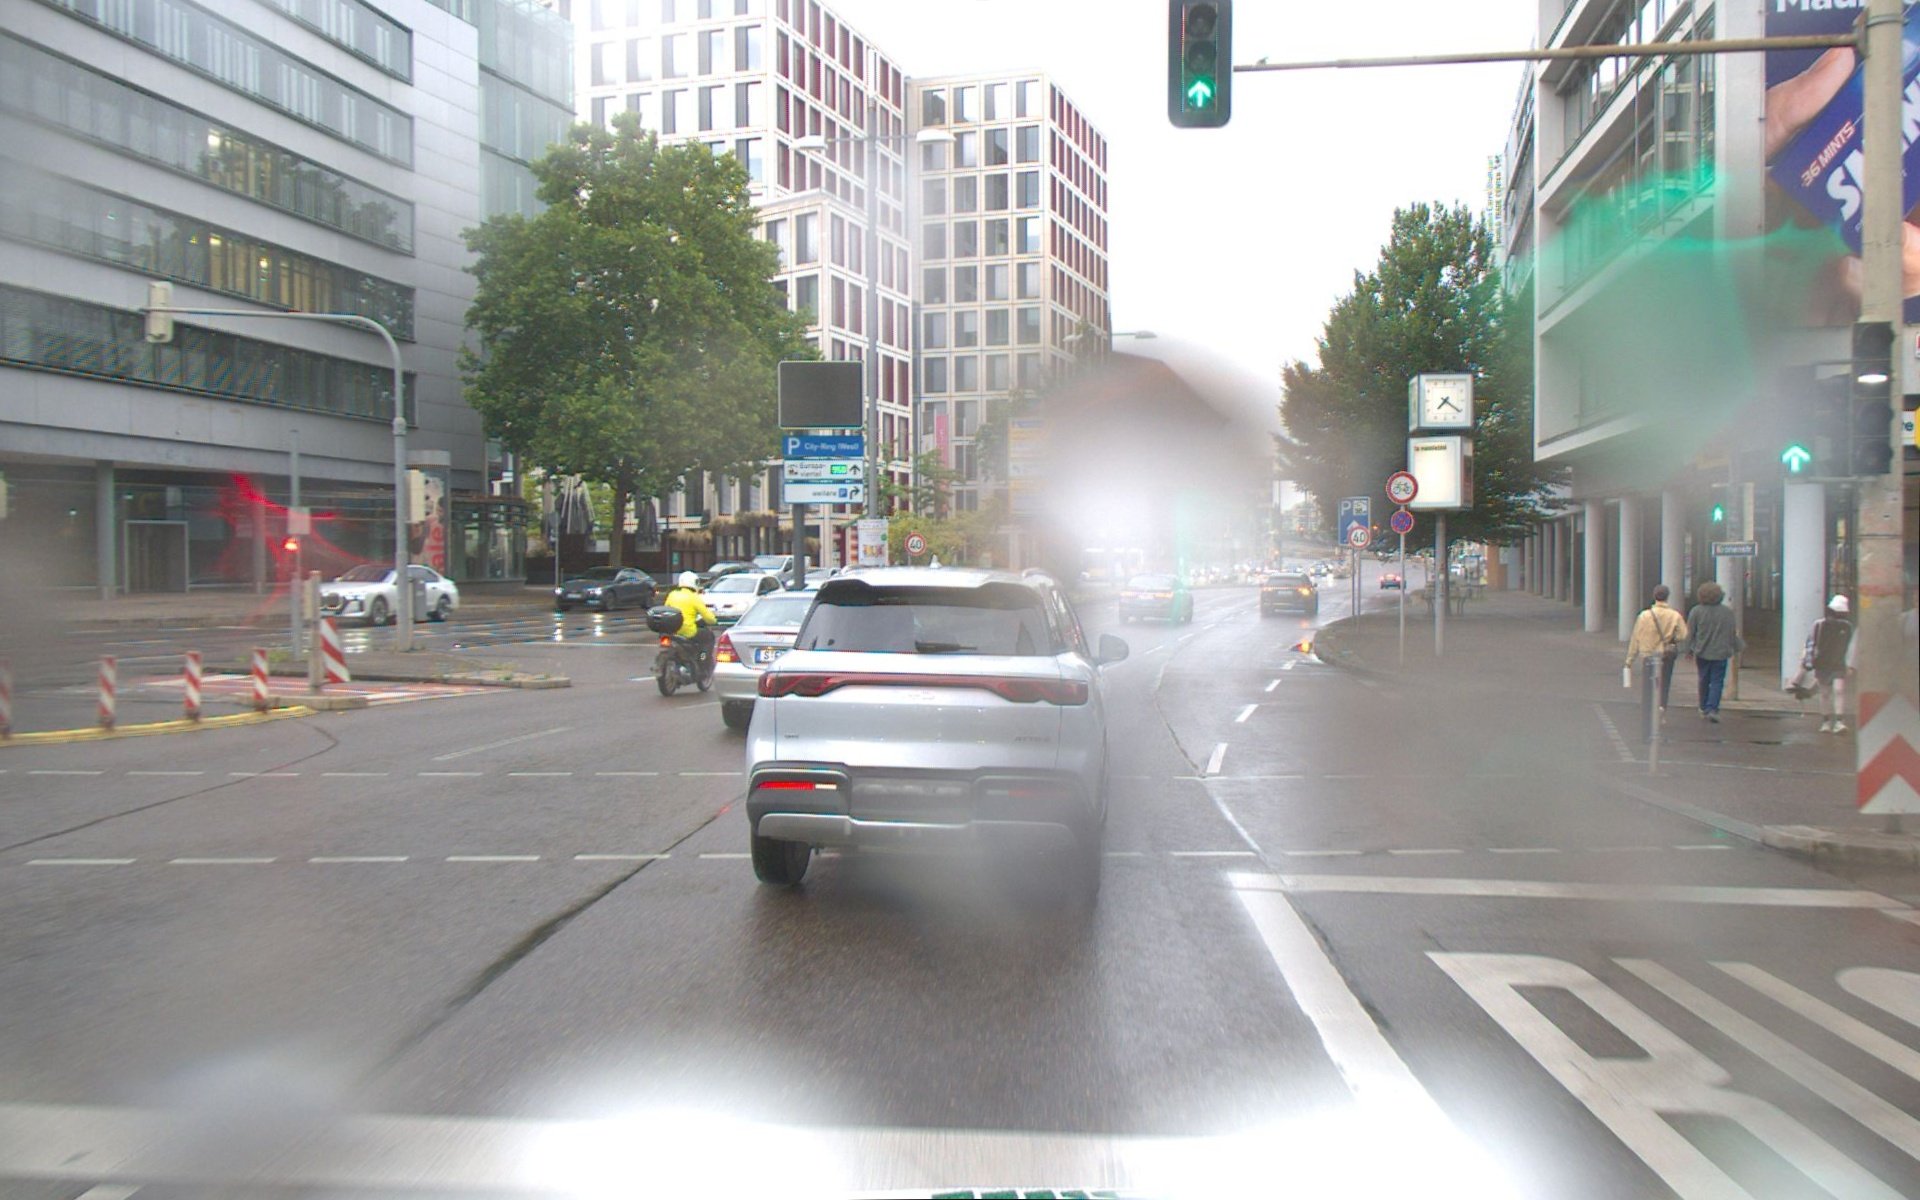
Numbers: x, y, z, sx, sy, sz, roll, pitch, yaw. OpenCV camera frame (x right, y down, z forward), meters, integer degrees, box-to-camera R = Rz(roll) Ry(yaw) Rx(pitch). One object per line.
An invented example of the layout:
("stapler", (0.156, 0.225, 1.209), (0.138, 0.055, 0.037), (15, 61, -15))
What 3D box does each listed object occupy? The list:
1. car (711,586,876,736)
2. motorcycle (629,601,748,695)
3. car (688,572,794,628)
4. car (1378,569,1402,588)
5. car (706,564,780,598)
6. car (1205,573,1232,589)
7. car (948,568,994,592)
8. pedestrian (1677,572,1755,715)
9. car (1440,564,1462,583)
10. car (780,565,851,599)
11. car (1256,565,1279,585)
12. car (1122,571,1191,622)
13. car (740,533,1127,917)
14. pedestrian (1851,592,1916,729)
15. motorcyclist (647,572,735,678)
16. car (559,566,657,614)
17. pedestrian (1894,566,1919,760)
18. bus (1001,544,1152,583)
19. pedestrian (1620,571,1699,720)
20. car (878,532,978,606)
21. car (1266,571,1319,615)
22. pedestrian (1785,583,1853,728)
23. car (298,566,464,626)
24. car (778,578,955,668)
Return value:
("car", (-1.728, 0.614, 18.199), (1.539, 1.432, 4.107), (1, -1, -2))
("motorcycle", (-3.661, 0.635, 22.496), (0.783, 1.205, 2.029), (1, -1, 16))
("car", (-5.913, -0.029, 45.108), (1.597, 1.462, 3.911), (0, 1, 13))
("car", (37.615, -1.854, 144.710), (1.658, 1.512, 4.001), (1, -1, 19))
("car", (-10.016, -0.905, 76.547), (1.951, 1.514, 4.003), (0, 1, 17))
("car", (24.544, -1.825, 157.063), (1.951, 1.512, 4.003), (0, 1, 17))
("car", (0.748, -1.345, 109.671), (1.951, 1.514, 4.003), (0, 1, 17))
("pedestrian", (9.903, 0.552, 21.679), (0.732, 1.829, 0.817), (0, 1, 10))
("car", (56.048, -3.023, 188.894), (1.951, 2.049, 4.003), (1, -1, 10))
("car", (-6.637, -0.835, 76.342), (1.951, 1.514, 4.003), (0, 1, 17))
("car", (26.900, -2.171, 144.591), (1.847, 1.671, 4.003), (1, 0, 12))
("car", (6.149, -0.071, 51.472), (1.537, 1.512, 4.002), (1, -1, 15))
("car", (0.071, 0.582, 9.542), (1.738, 1.708, 4.002), (1, -1, 6))
("pedestrian", (10.906, 0.698, 19.531), (0.613, 1.570, 0.651), (1, 0, 33))
("motorcyclist", (-3.652, 0.337, 22.533), (0.753, 1.404, 1.119), (1, -1, 15))
("car", (-12.321, -0.381, 58.140), (1.597, 1.586, 4.597), (0, 1, 13))
("pedestrian", (9.361, 0.598, 15.853), (0.656, 1.825, 0.771), (1, 0, 33))
("bus", (13.309, -4.168, 188.668), (16.601, 4.134, 4.441), (1, -1, 13))
("pedestrian", (8.733, 0.550, 20.686), (0.732, 1.829, 0.817), (0, 1, 10))
("car", (-0.907, -0.898, 50.376), (1.951, 2.049, 4.852), (1, -1, 12))
("car", (12.103, -0.230, 60.114), (1.657, 1.512, 4.003), (1, -1, 14))
("pedestrian", (10.267, 0.643, 19.769), (0.656, 1.684, 0.651), (1, 0, 33))
("car", (-15.468, -0.150, 44.539), (1.775, 1.536, 5.201), (0, 1, 12))
("car", (-1.626, 0.421, 30.172), (1.672, 1.512, 3.999), (1, -1, 22))
